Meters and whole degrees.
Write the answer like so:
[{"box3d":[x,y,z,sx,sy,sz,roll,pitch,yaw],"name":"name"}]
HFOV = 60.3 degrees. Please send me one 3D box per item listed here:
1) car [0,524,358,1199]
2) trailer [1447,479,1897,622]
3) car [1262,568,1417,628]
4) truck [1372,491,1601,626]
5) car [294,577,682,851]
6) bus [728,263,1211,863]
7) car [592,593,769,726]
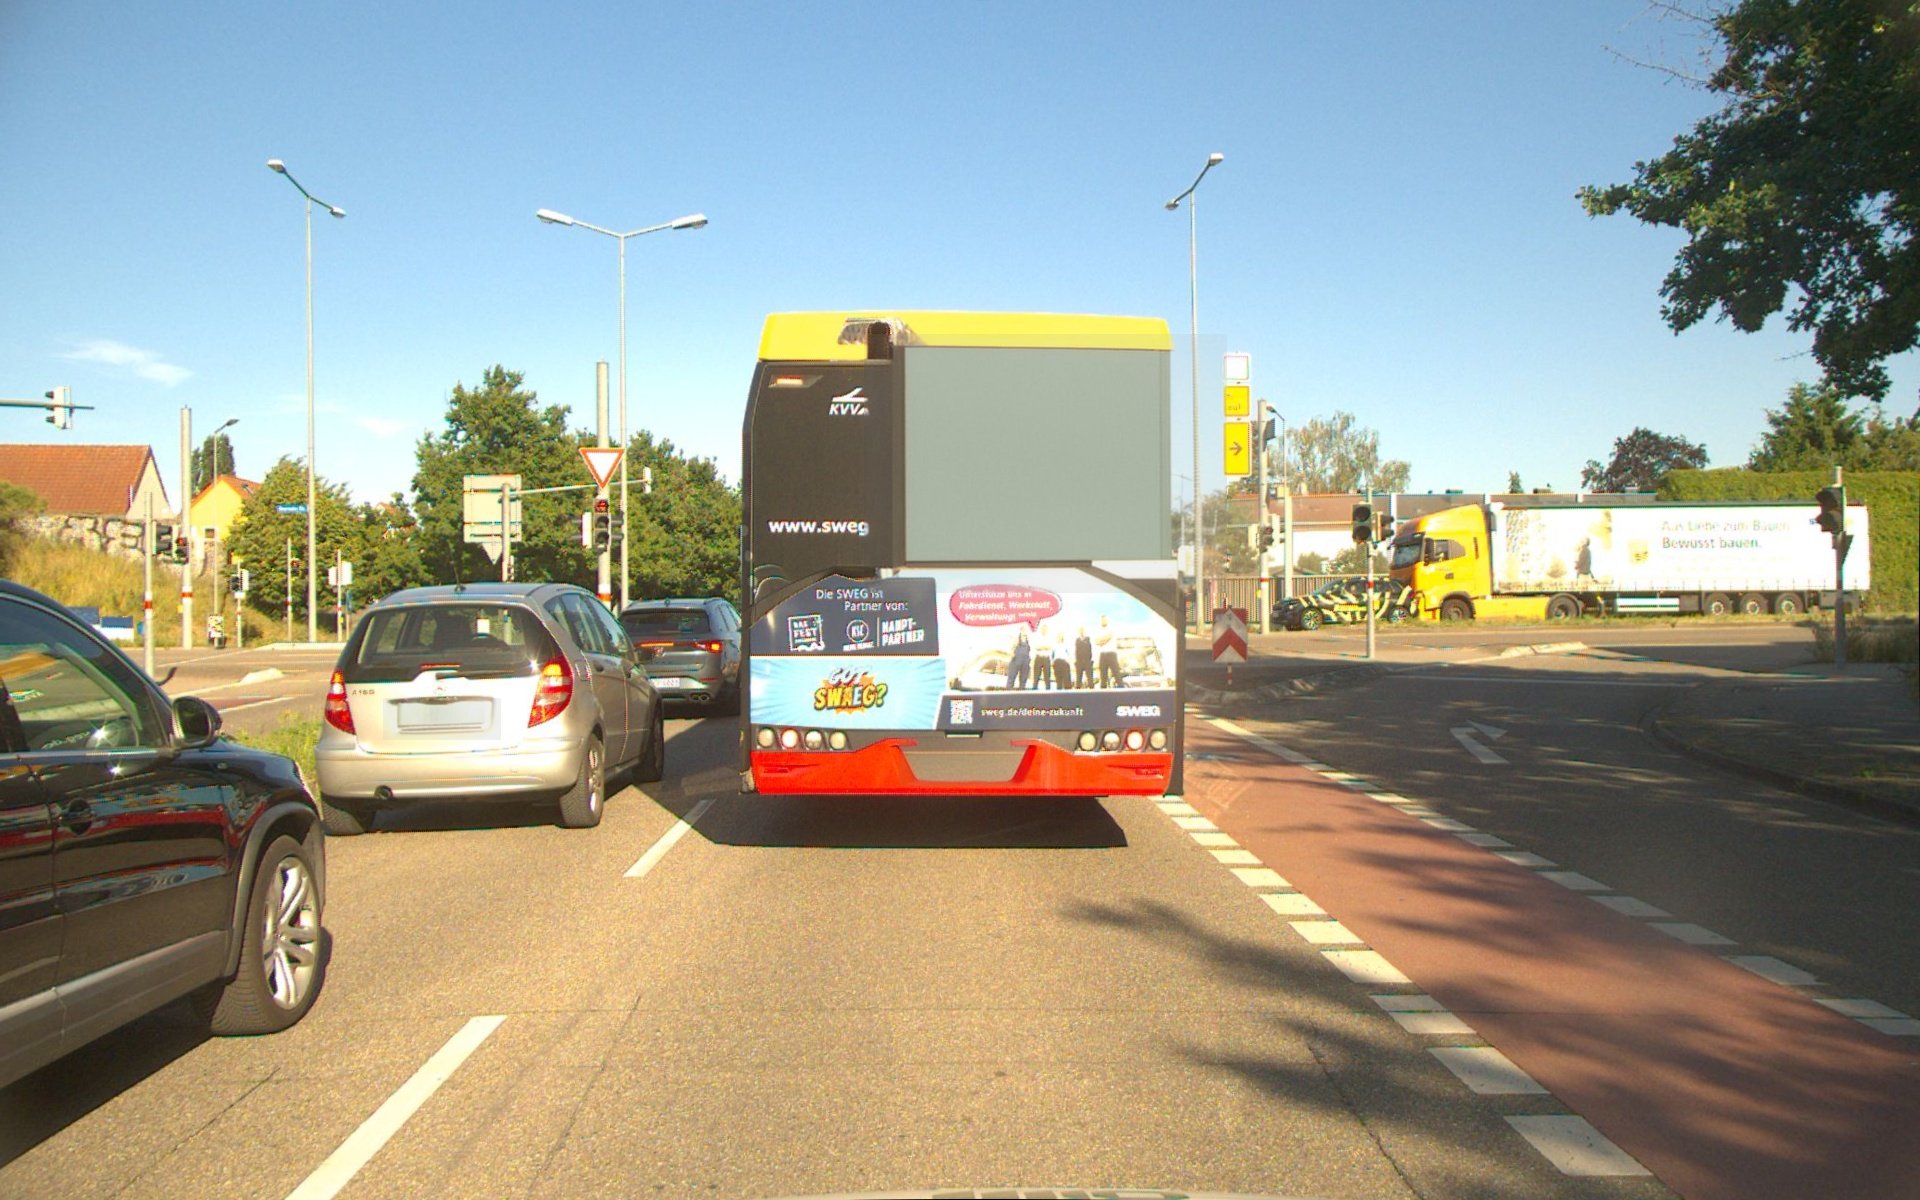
[{"box3d":[-3.147,0.690,4.297,1.736,1.682,3.999,-2,0,-1],"name":"car"},{"box3d":[24.295,-1.682,56.661,14.382,4.082,3.435,-3,0,-8],"name":"trailer"},{"box3d":[10.937,-0.051,47.821,3.989,1.552,1.766,-2,0,-7],"name":"car"},{"box3d":[17.643,-1.362,55.707,6.354,4.082,3.435,-3,0,-8],"name":"truck"},{"box3d":[-3.221,0.685,12.123,1.725,1.617,3.999,-2,0,-1],"name":"car"},{"box3d":[0.017,-0.250,14.887,2.589,3.222,11.860,0,0,0],"name":"bus"},{"box3d":[-3.454,0.680,21.052,1.658,1.484,3.750,-2,0,-1],"name":"car"}]
